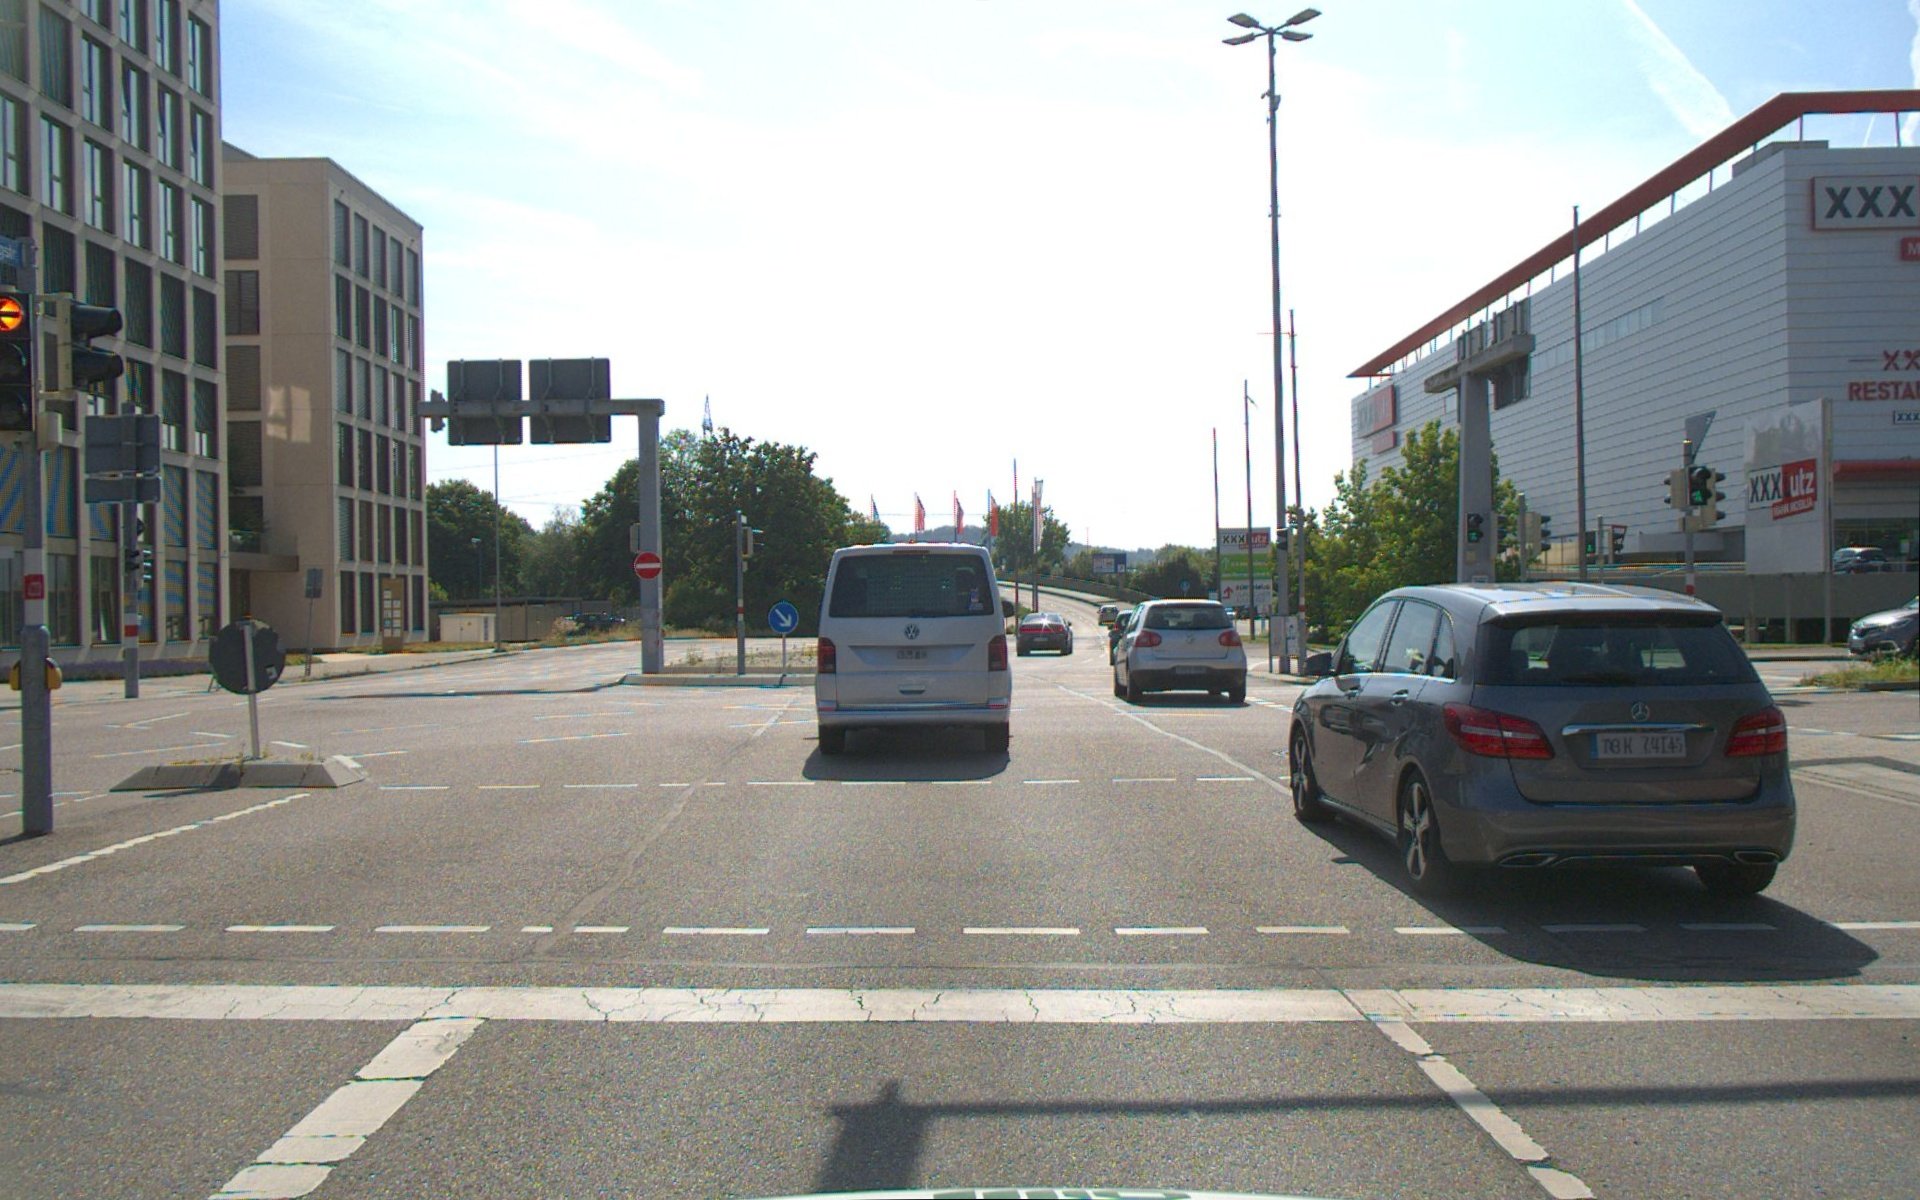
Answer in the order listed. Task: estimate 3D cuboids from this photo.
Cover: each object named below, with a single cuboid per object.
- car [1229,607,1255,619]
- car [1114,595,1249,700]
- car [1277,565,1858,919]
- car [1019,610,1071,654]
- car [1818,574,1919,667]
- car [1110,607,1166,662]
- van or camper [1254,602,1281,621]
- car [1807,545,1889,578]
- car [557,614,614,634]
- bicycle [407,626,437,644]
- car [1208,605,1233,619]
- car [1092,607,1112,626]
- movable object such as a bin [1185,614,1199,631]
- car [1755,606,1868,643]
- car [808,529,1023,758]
[{"bbox_3d":[34.413,1.576,201.658,1.957,1.445,3.991,2,-1,-9],"label":"car"},{"bbox_3d":[3.250,0.673,24.873,1.632,1.439,3.683,-1,0,2],"label":"car"},{"bbox_3d":[3.096,0.615,9.404,1.737,1.566,4.137,0,0,-1],"label":"car"},{"bbox_3d":[3.044,1.123,58.826,1.498,1.506,3.250,0,0,10],"label":"car"},{"bbox_3d":[17.629,0.329,29.387,3.803,1.586,1.809,-1,-1,3],"label":"car"},{"bbox_3d":[5.045,0.946,46.755,1.498,1.506,3.598,0,0,7],"label":"car"},{"bbox_3d":[38.092,1.399,204.992,2.056,2.217,5.435,1,-1,-2],"label":"van or camper"},{"bbox_3d":[42.116,-1.812,78.516,1.734,1.444,4.201,-1,0,2],"label":"car"},{"bbox_3d":[-28.440,1.804,125.616,4.038,1.445,1.718,0,-2,-20],"label":"car"},{"bbox_3d":[-33.666,2.191,103.556,1.668,1.110,0.588,-1,0,0],"label":"bicycle"},{"bbox_3d":[31.751,1.488,201.589,1.849,1.546,3.991,2,-1,-9],"label":"car"},{"bbox_3d":[11.328,1.287,132.109,1.499,1.506,3.427,0,-1,4],"label":"car"},{"bbox_3d":[15.567,1.514,111.053,0.793,1.133,1.182,-1,0,4],"label":"movable object such as a bin"},{"bbox_3d":[36.822,1.054,71.550,4.031,1.550,1.798,0,0,-5],"label":"car"},{"bbox_3d":[-0.422,0.390,16.780,1.878,2.010,4.296,1,0,-1],"label":"car"}]
